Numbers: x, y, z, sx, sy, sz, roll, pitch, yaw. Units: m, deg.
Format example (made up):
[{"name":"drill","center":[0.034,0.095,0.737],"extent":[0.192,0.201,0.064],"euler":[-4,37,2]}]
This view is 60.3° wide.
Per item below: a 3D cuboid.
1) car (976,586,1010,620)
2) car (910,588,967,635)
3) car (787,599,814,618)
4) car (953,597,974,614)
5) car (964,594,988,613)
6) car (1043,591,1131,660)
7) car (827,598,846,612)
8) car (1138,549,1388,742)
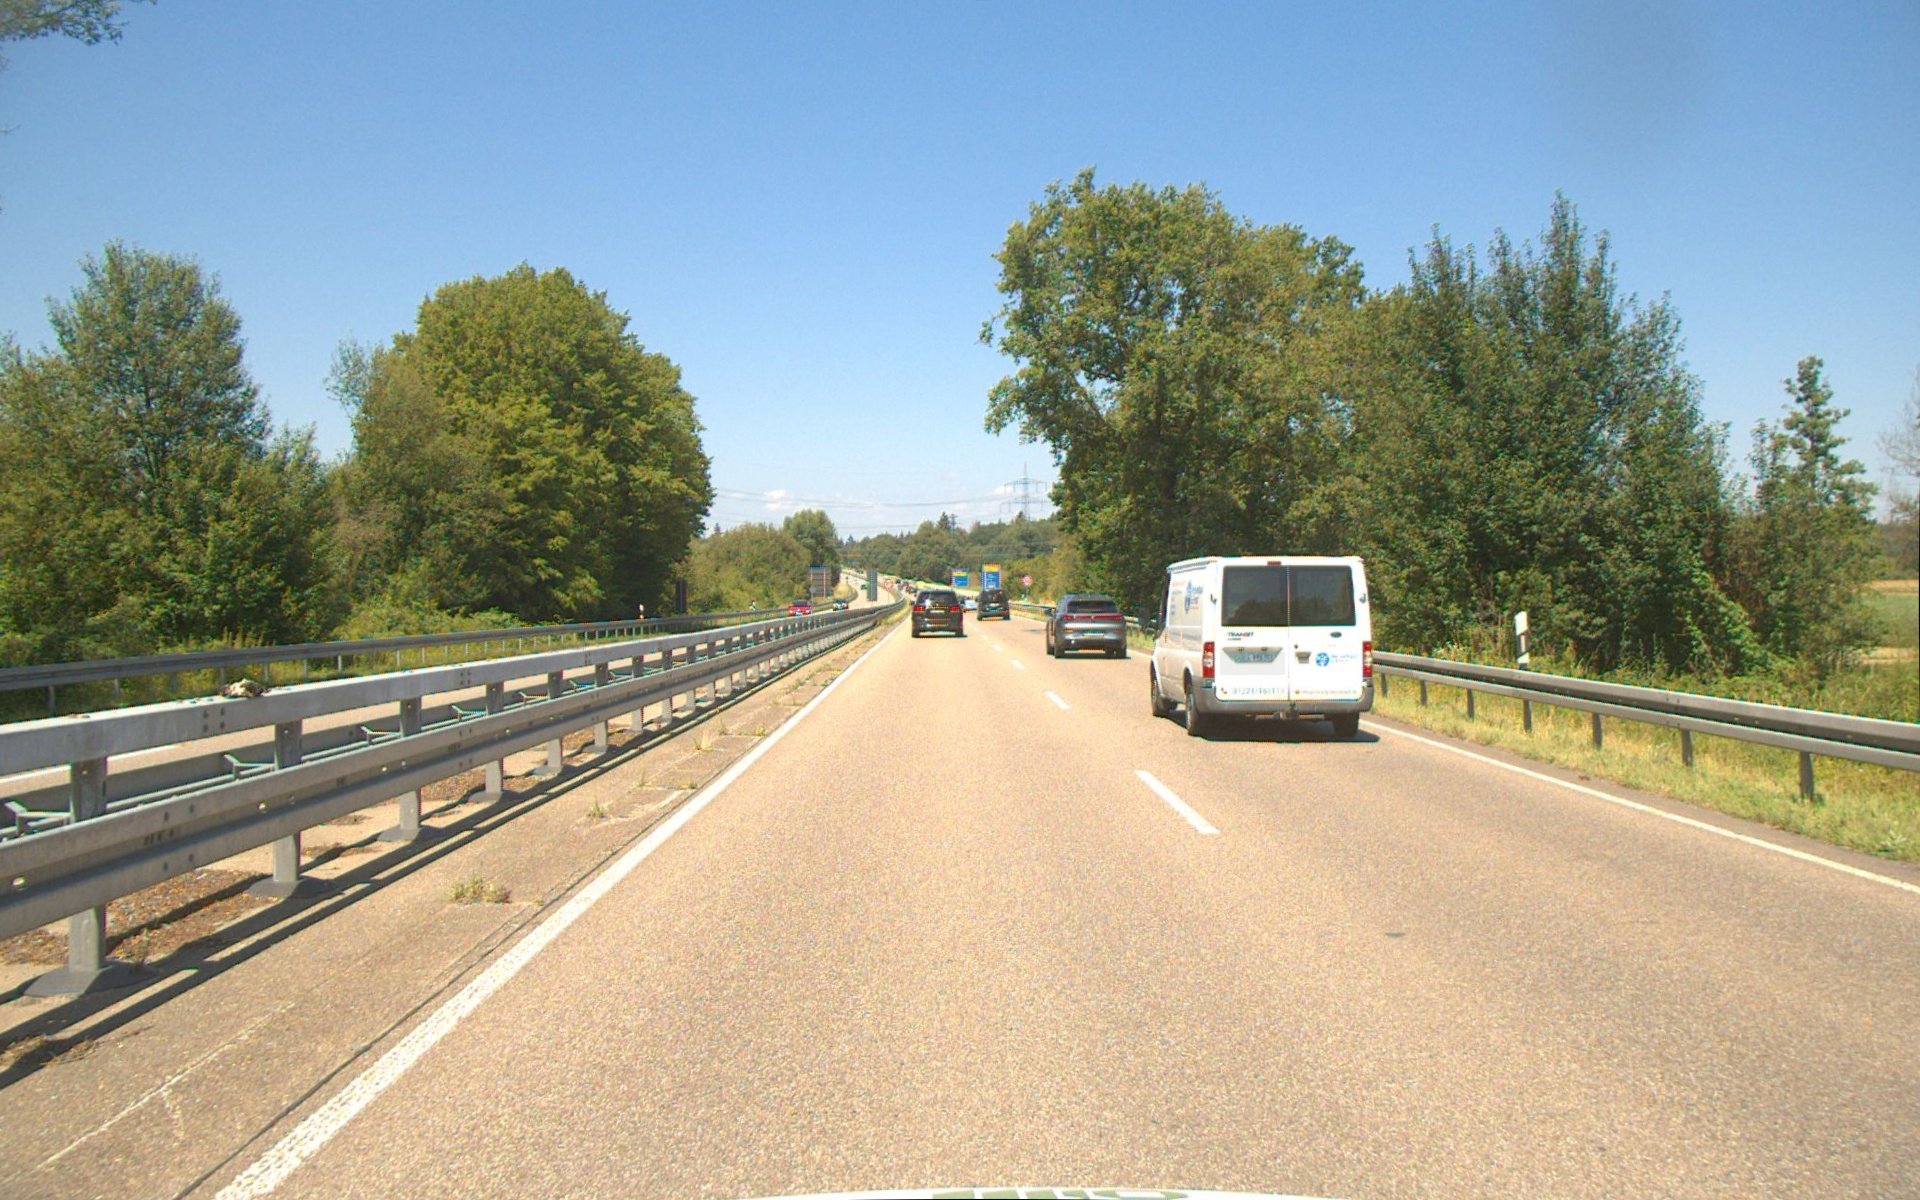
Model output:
[{"name":"car","center":[1.878,0.131,96.113],"extent":[1.744,1.848,4.212],"euler":[-2,1,-1]},{"name":"car","center":[-0.841,0.406,61.083],"extent":[1.954,1.683,3.998],"euler":[0,0,-3]},{"name":"car","center":[-12.359,0.656,128.169],"extent":[1.740,1.444,4.574],"euler":[-2,0,-1]},{"name":"car","center":[0.320,0.496,156.506],"extent":[1.783,1.439,3.999],"euler":[-2,1,-2]},{"name":"car","center":[1.376,0.271,142.802],"extent":[1.743,1.505,4.313],"euler":[2,1,-3]},{"name":"car","center":[3.146,0.601,41.577],"extent":[1.749,1.580,4.018],"euler":[-1,1,-2]},{"name":"car","center":[-13.785,0.576,184.600],"extent":[1.761,1.494,3.773],"euler":[0,0,0]},{"name":"car","center":[3.475,0.488,19.994],"extent":[1.965,2.023,5.032],"euler":[-1,0,-2]}]
